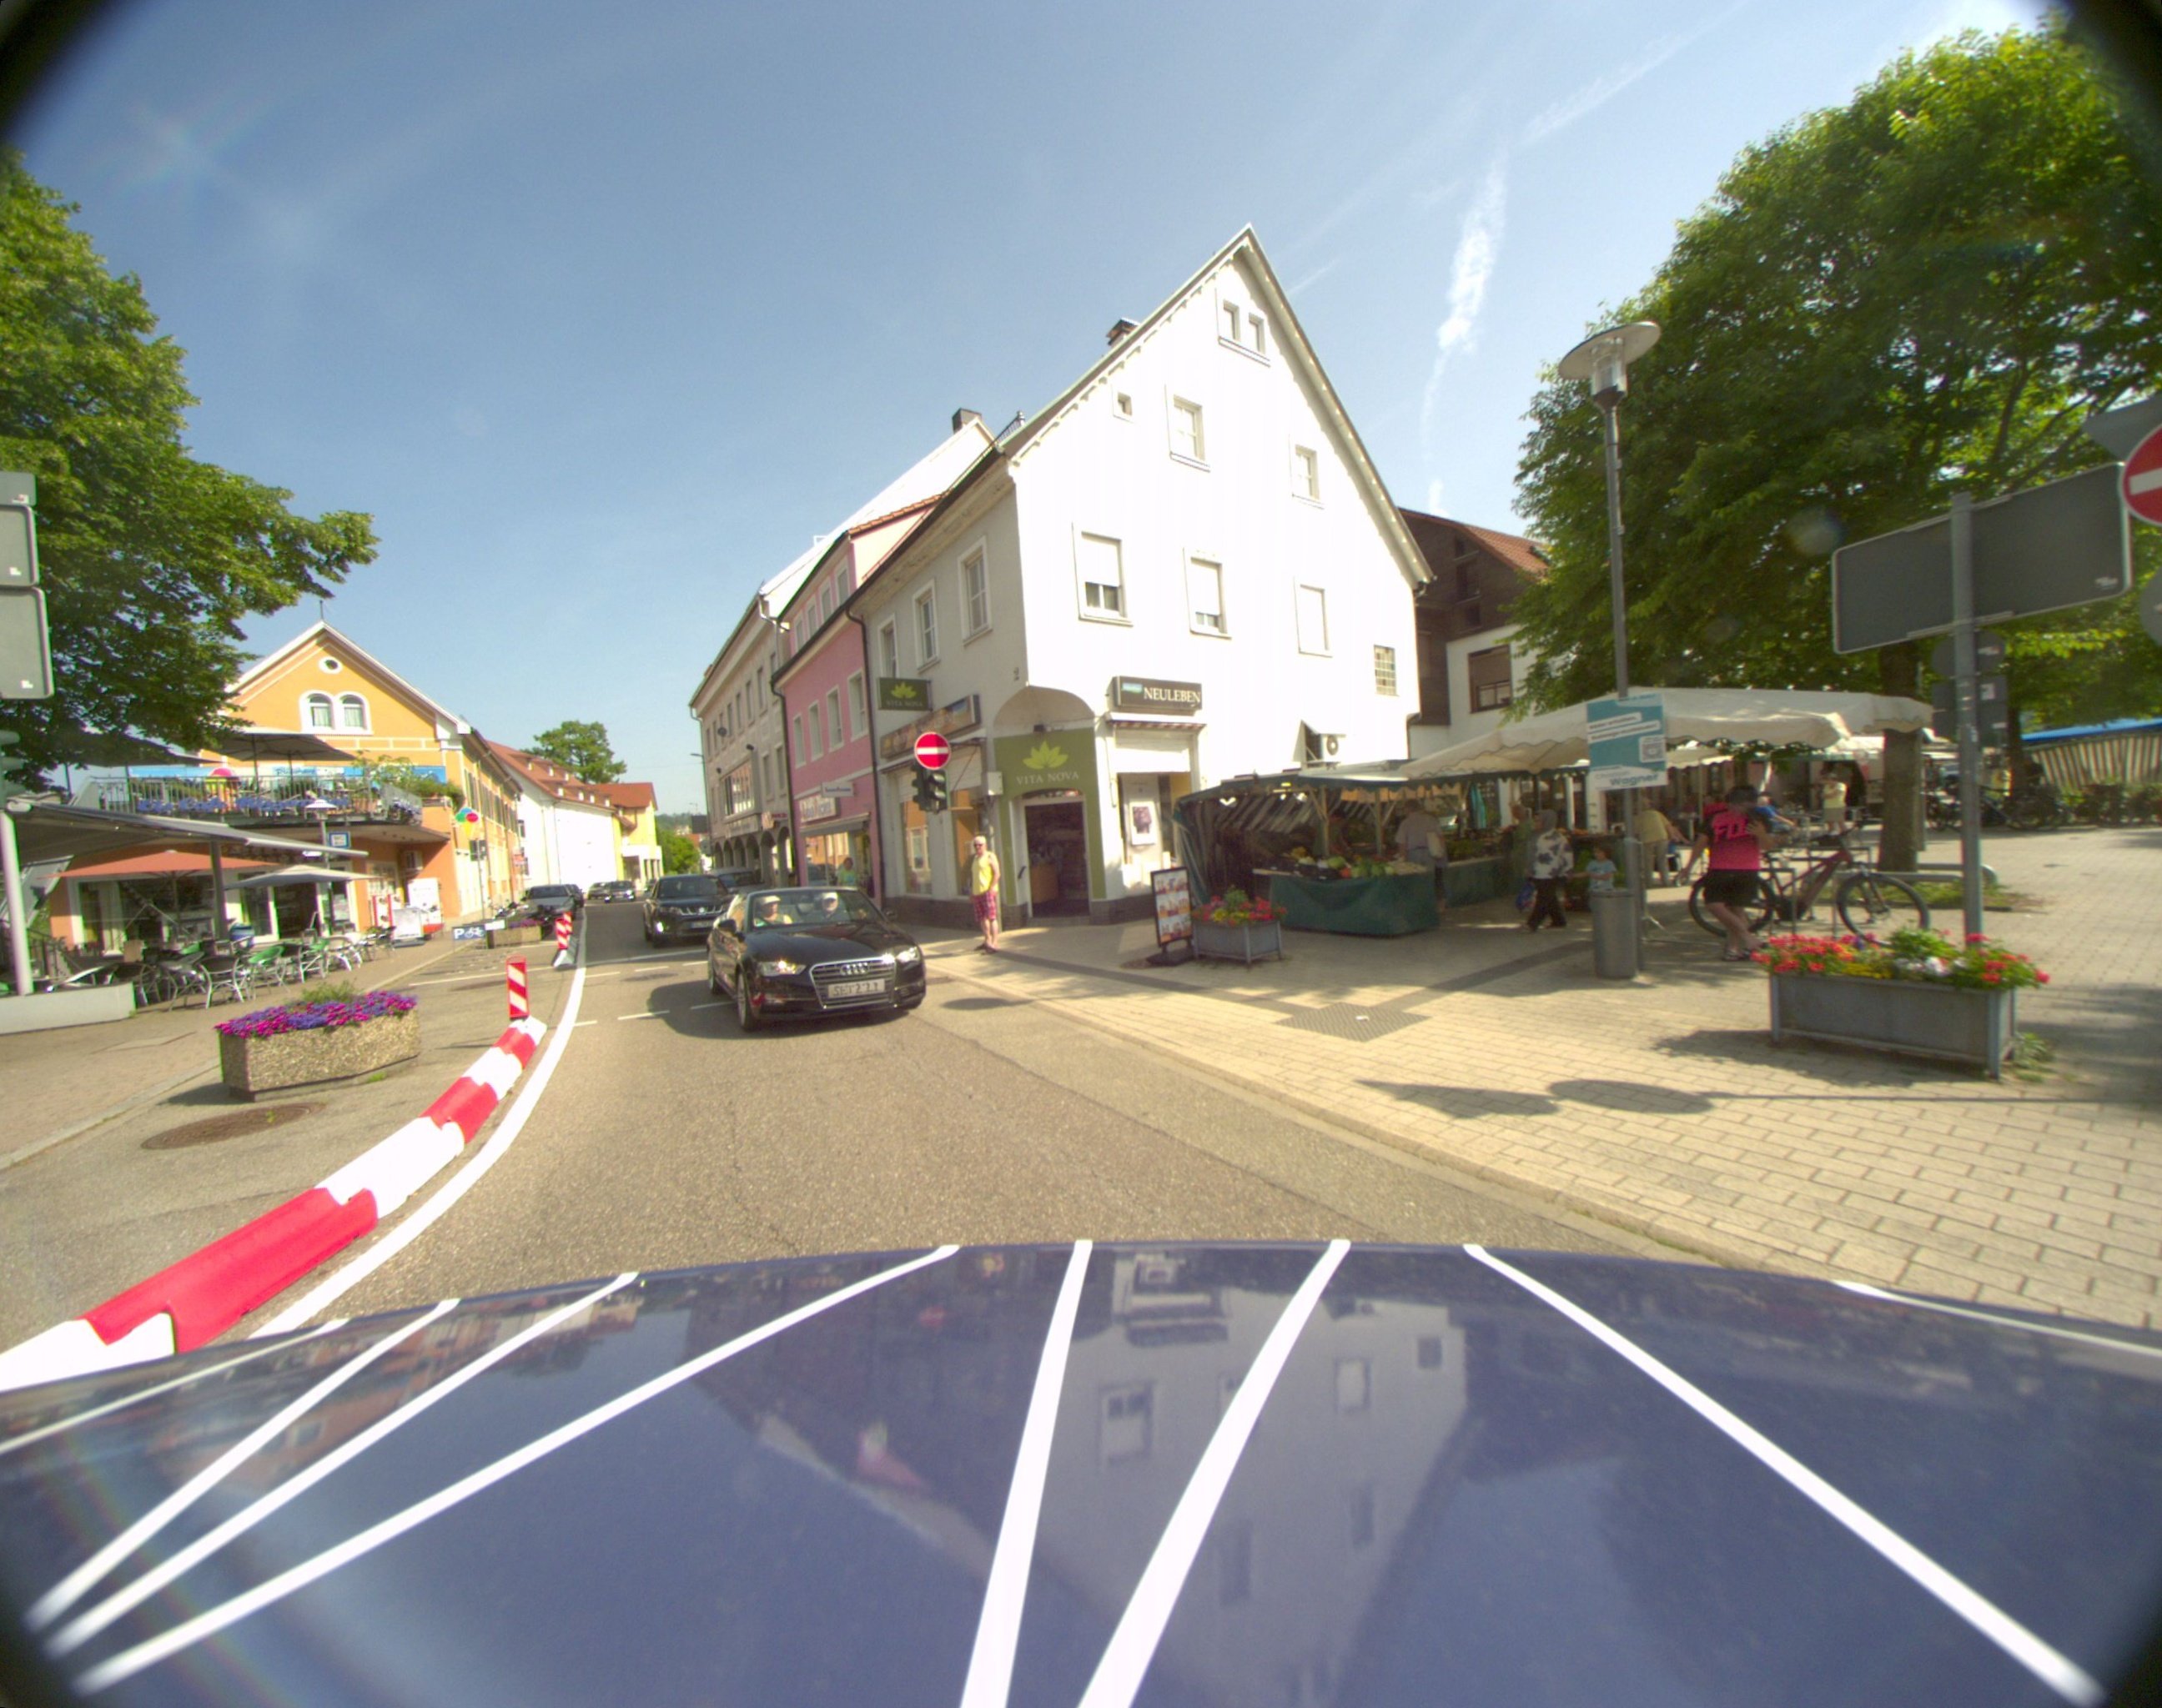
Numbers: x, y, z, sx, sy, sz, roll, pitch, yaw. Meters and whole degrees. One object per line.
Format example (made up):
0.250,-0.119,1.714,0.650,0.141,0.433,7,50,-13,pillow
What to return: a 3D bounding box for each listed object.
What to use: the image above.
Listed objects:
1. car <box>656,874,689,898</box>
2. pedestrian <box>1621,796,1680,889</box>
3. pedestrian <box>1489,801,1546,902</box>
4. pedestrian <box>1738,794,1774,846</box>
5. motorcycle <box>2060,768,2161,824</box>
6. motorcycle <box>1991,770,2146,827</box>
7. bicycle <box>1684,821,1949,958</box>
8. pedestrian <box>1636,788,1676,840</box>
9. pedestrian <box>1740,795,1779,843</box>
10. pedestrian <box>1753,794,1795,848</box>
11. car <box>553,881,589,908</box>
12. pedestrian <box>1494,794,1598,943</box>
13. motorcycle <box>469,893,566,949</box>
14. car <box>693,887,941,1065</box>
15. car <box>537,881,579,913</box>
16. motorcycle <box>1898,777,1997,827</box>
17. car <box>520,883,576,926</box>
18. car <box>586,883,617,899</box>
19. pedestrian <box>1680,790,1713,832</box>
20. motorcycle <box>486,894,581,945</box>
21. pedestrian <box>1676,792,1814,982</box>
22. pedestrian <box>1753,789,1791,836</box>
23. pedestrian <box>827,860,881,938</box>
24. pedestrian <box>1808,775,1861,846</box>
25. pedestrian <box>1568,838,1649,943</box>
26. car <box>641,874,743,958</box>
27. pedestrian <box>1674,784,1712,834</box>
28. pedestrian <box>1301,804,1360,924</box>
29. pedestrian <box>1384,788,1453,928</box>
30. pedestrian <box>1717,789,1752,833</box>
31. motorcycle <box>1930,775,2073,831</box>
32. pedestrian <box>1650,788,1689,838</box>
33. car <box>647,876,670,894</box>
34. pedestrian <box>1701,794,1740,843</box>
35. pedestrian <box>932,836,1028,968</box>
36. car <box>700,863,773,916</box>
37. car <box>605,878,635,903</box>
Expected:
-29.897,2.314,55.607,1.773,1.552,3.962,-5,1,-32,car
9.620,-0.198,12.827,0.634,1.510,0.620,-5,2,-39,pedestrian
7.293,-0.044,12.697,0.708,1.617,0.521,-5,2,-36,pedestrian
16.317,-0.827,18.372,0.652,1.195,0.570,-7,6,-42,pedestrian
23.523,-1.317,17.086,0.642,1.189,2.005,-2,4,10,motorcycle
22.322,-1.234,17.244,0.644,1.189,2.001,-4,4,-18,motorcycle
7.419,0.350,7.772,0.618,1.228,1.857,-6,2,-45,bicycle
15.409,-1.074,20.351,0.700,1.324,0.625,-6,5,-28,pedestrian
17.599,-0.901,19.715,0.651,1.195,0.570,-6,5,-31,pedestrian
15.919,-0.753,17.459,0.697,1.195,0.573,1,6,44,pedestrian
-33.020,2.600,49.246,1.686,1.531,4.177,-4,0,-32,car
5.713,0.163,9.353,0.789,1.714,0.706,-4,2,-23,pedestrian
-15.871,1.868,21.462,0.915,1.350,1.903,-3,1,23,motorcycle
-3.234,1.133,8.700,1.759,1.348,4.190,-4,0,-31,car
-30.034,2.418,43.714,1.686,1.636,4.241,-4,0,-32,car
21.761,-1.280,19.106,0.644,1.189,1.528,-5,5,-32,motorcycle
-23.130,2.134,33.082,1.753,1.588,4.583,-6,1,-34,car
-42.695,3.274,67.756,1.529,1.237,4.027,-4,1,-22,car
17.944,-1.250,22.151,0.651,1.195,0.570,-6,5,-31,pedestrian
-16.479,1.942,22.947,0.927,1.263,2.093,-4,1,18,motorcycle
6.247,0.278,7.169,0.573,1.650,0.881,-7,5,-38,pedestrian
18.266,-1.098,20.077,0.651,1.195,0.570,-6,5,-31,pedestrian
-5.126,0.985,17.132,0.789,1.623,0.857,-8,3,-31,pedestrian
17.060,-0.988,17.211,0.573,1.545,0.697,-6,5,-26,pedestrian
6.203,0.408,8.935,0.623,1.154,0.515,-4,2,-26,pedestrian
-9.119,1.321,17.661,1.686,1.552,3.961,-5,2,-32,car
17.147,-1.259,21.287,0.700,1.324,0.625,-6,5,-28,pedestrian
4.227,0.161,12.895,0.707,1.959,0.508,-4,2,-6,pedestrian
4.944,0.054,11.113,0.705,1.974,0.653,-2,2,37,pedestrian
18.499,-1.219,21.501,0.651,1.195,0.570,-6,5,-31,pedestrian
21.378,-1.173,17.706,0.644,1.189,2.001,-5,4,-18,motorcycle
16.175,-1.130,20.886,0.700,1.324,0.625,-6,5,-28,pedestrian
-41.359,3.014,74.409,1.686,1.552,3.335,-4,1,-27,car
16.373,-0.914,19.456,0.651,1.195,0.570,-6,5,-31,pedestrian
-1.531,0.714,11.746,1.020,1.806,0.907,-8,4,7,pedestrian
-13.484,1.358,29.606,1.714,1.729,4.136,-7,2,-34,car
-32.887,2.573,54.153,1.686,1.552,3.334,-5,1,-32,car
